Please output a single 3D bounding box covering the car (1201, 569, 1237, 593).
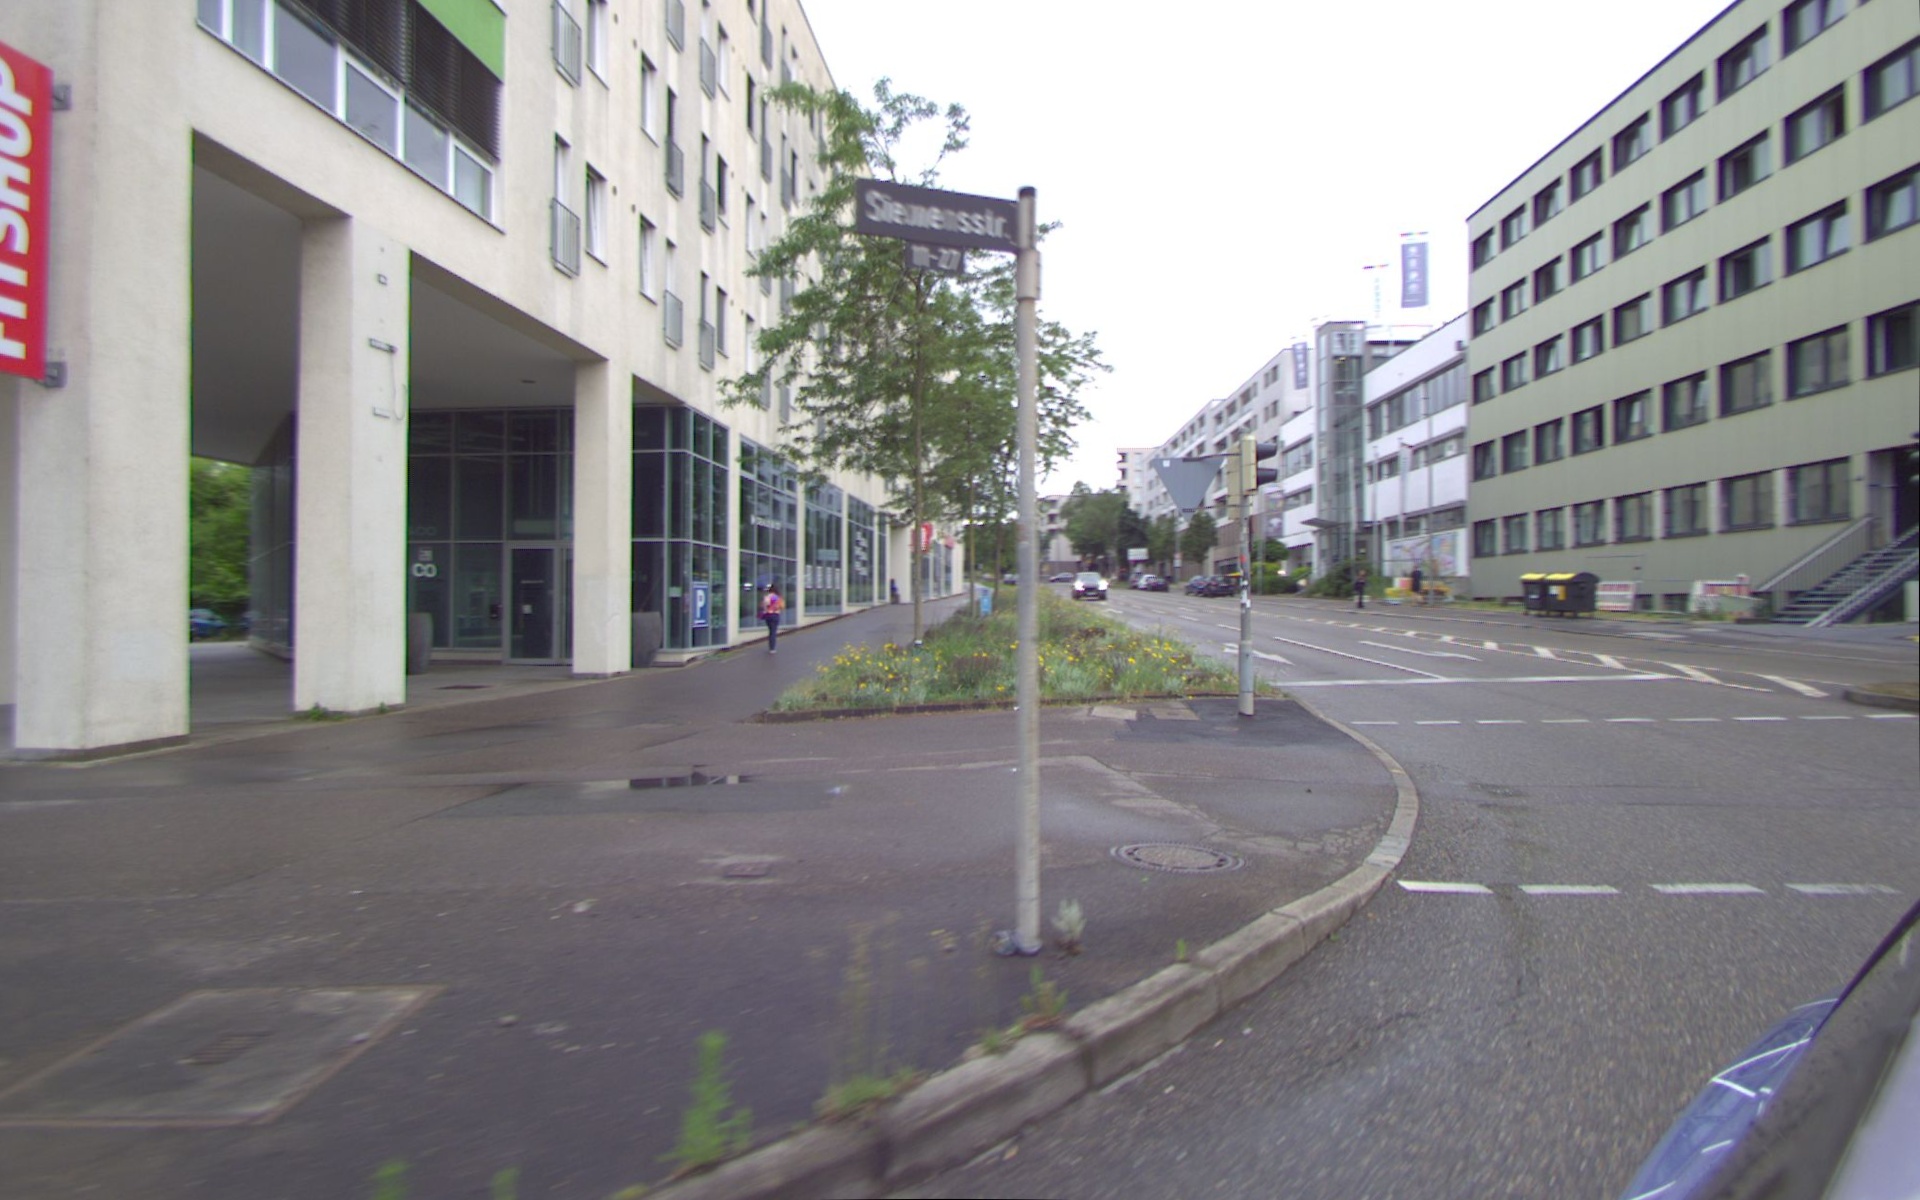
[{"bbox_3d":[17.469,-1.283,68.263,1.489,1.528,2.984,1,2,-3],"label":"car"}]

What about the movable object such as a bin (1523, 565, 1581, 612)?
[{"bbox_3d":[19.513,-0.394,33.386,1.038,1.463,1.429,-3,1,4],"label":"movable object such as a bin"}]

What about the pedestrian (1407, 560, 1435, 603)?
[{"bbox_3d":[19.221,-0.784,42.221,0.744,1.753,0.941,-2,1,5],"label":"pedestrian"}]

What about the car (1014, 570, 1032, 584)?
[{"bbox_3d":[7.384,-2.663,118.278,1.964,1.504,3.997,-2,2,4],"label":"car"}]

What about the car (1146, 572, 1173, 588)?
[{"bbox_3d":[18.055,-1.842,91.815,1.631,1.408,3.741,1,2,0],"label":"car"}]

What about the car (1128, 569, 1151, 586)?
[{"bbox_3d":[18.019,-2.303,101.706,1.601,1.638,3.971,2,1,2],"label":"car"}]

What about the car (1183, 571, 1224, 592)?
[{"bbox_3d":[17.378,-1.349,72.409,1.629,1.421,4.273,-1,1,-3],"label":"car"}]

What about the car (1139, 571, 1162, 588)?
[{"bbox_3d":[18.151,-1.980,96.491,1.568,1.486,3.422,2,2,1],"label":"car"}]

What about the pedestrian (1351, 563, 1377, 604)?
[{"bbox_3d":[17.581,-0.725,44.057,0.755,1.697,0.968,-2,1,3],"label":"pedestrian"}]

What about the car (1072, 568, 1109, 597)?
[{"bbox_3d":[7.995,-1.091,62.264,1.964,1.593,3.997,-2,2,4],"label":"car"}]

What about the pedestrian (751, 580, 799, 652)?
[{"bbox_3d":[-4.626,0.391,25.350,0.860,1.734,1.086,-2,0,6],"label":"pedestrian"}]

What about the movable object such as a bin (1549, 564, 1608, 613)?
[{"bbox_3d":[19.506,-0.371,31.951,1.038,1.463,1.357,-3,1,4],"label":"movable object such as a bin"}]
